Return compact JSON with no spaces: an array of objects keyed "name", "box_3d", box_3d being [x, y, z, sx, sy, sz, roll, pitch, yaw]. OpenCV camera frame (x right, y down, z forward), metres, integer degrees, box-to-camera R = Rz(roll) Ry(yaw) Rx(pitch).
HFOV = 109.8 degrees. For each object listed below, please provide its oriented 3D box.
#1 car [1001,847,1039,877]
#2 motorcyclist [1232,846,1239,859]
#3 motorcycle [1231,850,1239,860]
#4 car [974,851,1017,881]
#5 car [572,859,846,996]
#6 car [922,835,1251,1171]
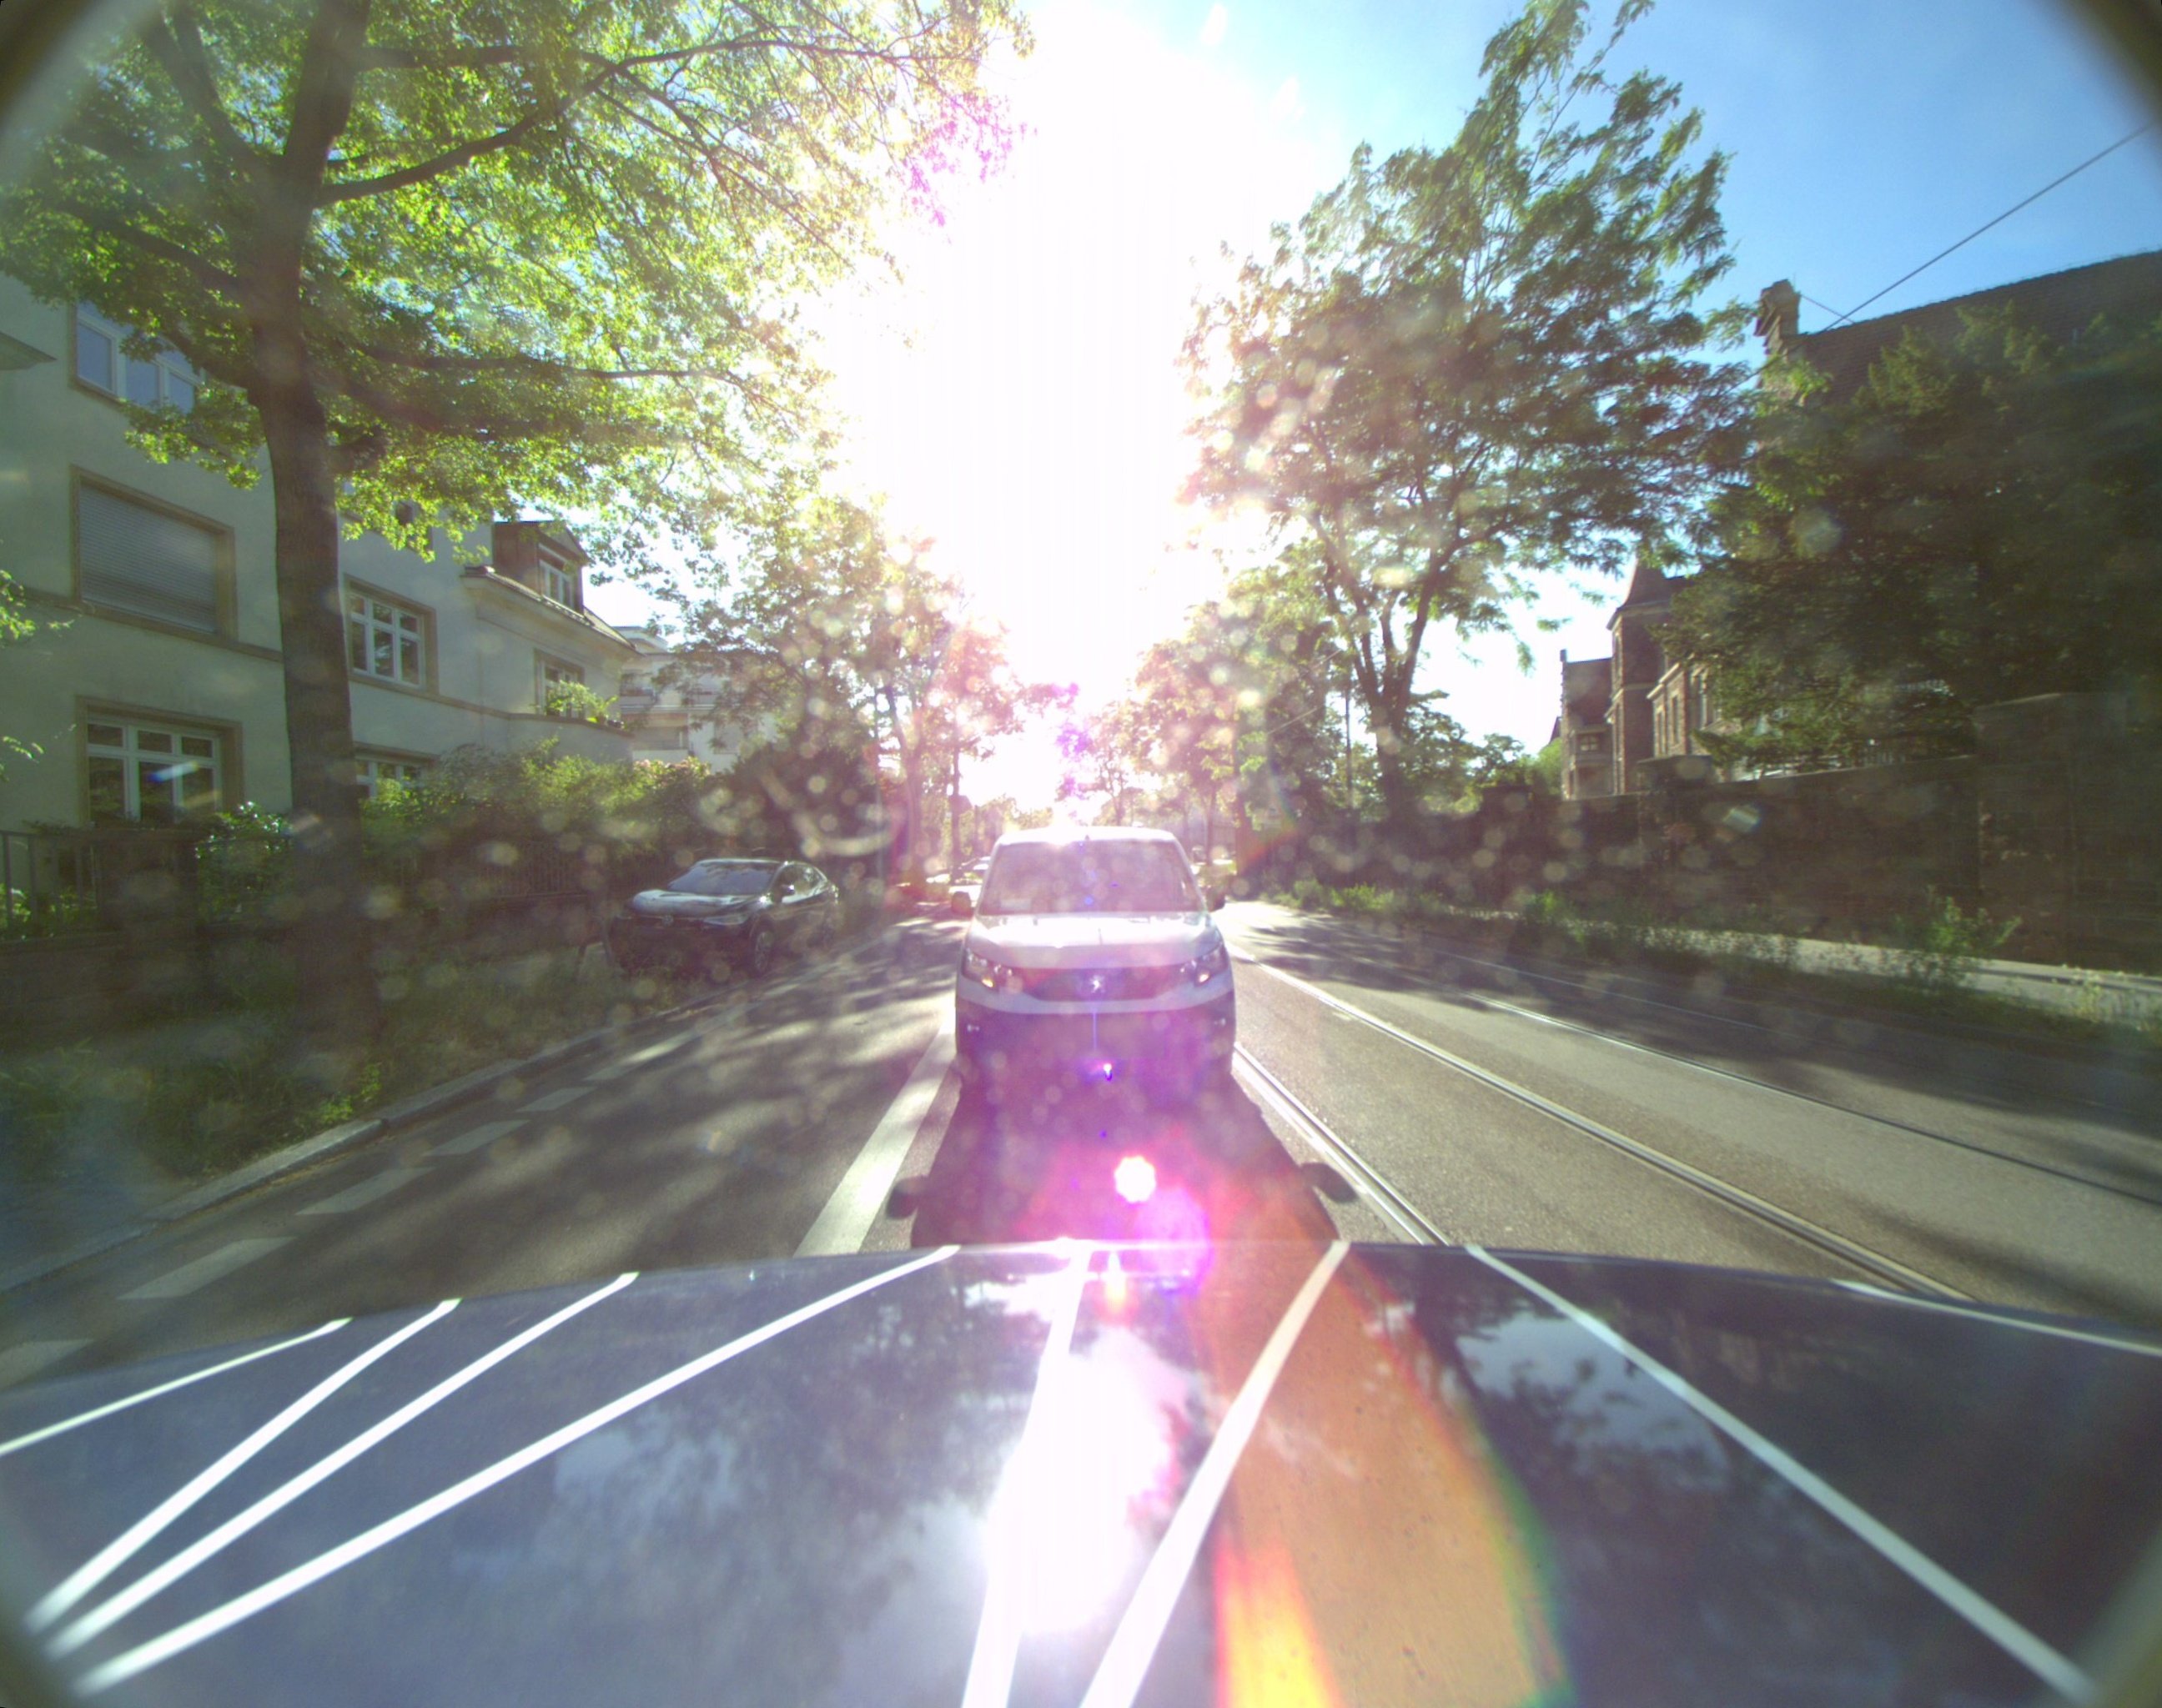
[{"name":"car","box_3d":[-4.085,0.486,51.836,2.129,1.884,4.746,-2,0,1]},{"name":"motorcyclist","box_3d":[17.392,-0.215,85.584,0.684,1.432,0.447,-1,1,18]},{"name":"motorcycle","box_3d":[17.307,0.113,85.446,0.610,1.087,1.858,-1,0,17]},{"name":"car","box_3d":[-5.043,0.666,45.219,1.823,1.630,4.001,-2,0,4]},{"name":"car","box_3d":[-5.253,0.937,11.545,1.999,1.665,4.380,1,-1,0]},{"name":"car","box_3d":[0.025,0.807,6.138,1.768,1.812,3.999,-1,0,0]}]
